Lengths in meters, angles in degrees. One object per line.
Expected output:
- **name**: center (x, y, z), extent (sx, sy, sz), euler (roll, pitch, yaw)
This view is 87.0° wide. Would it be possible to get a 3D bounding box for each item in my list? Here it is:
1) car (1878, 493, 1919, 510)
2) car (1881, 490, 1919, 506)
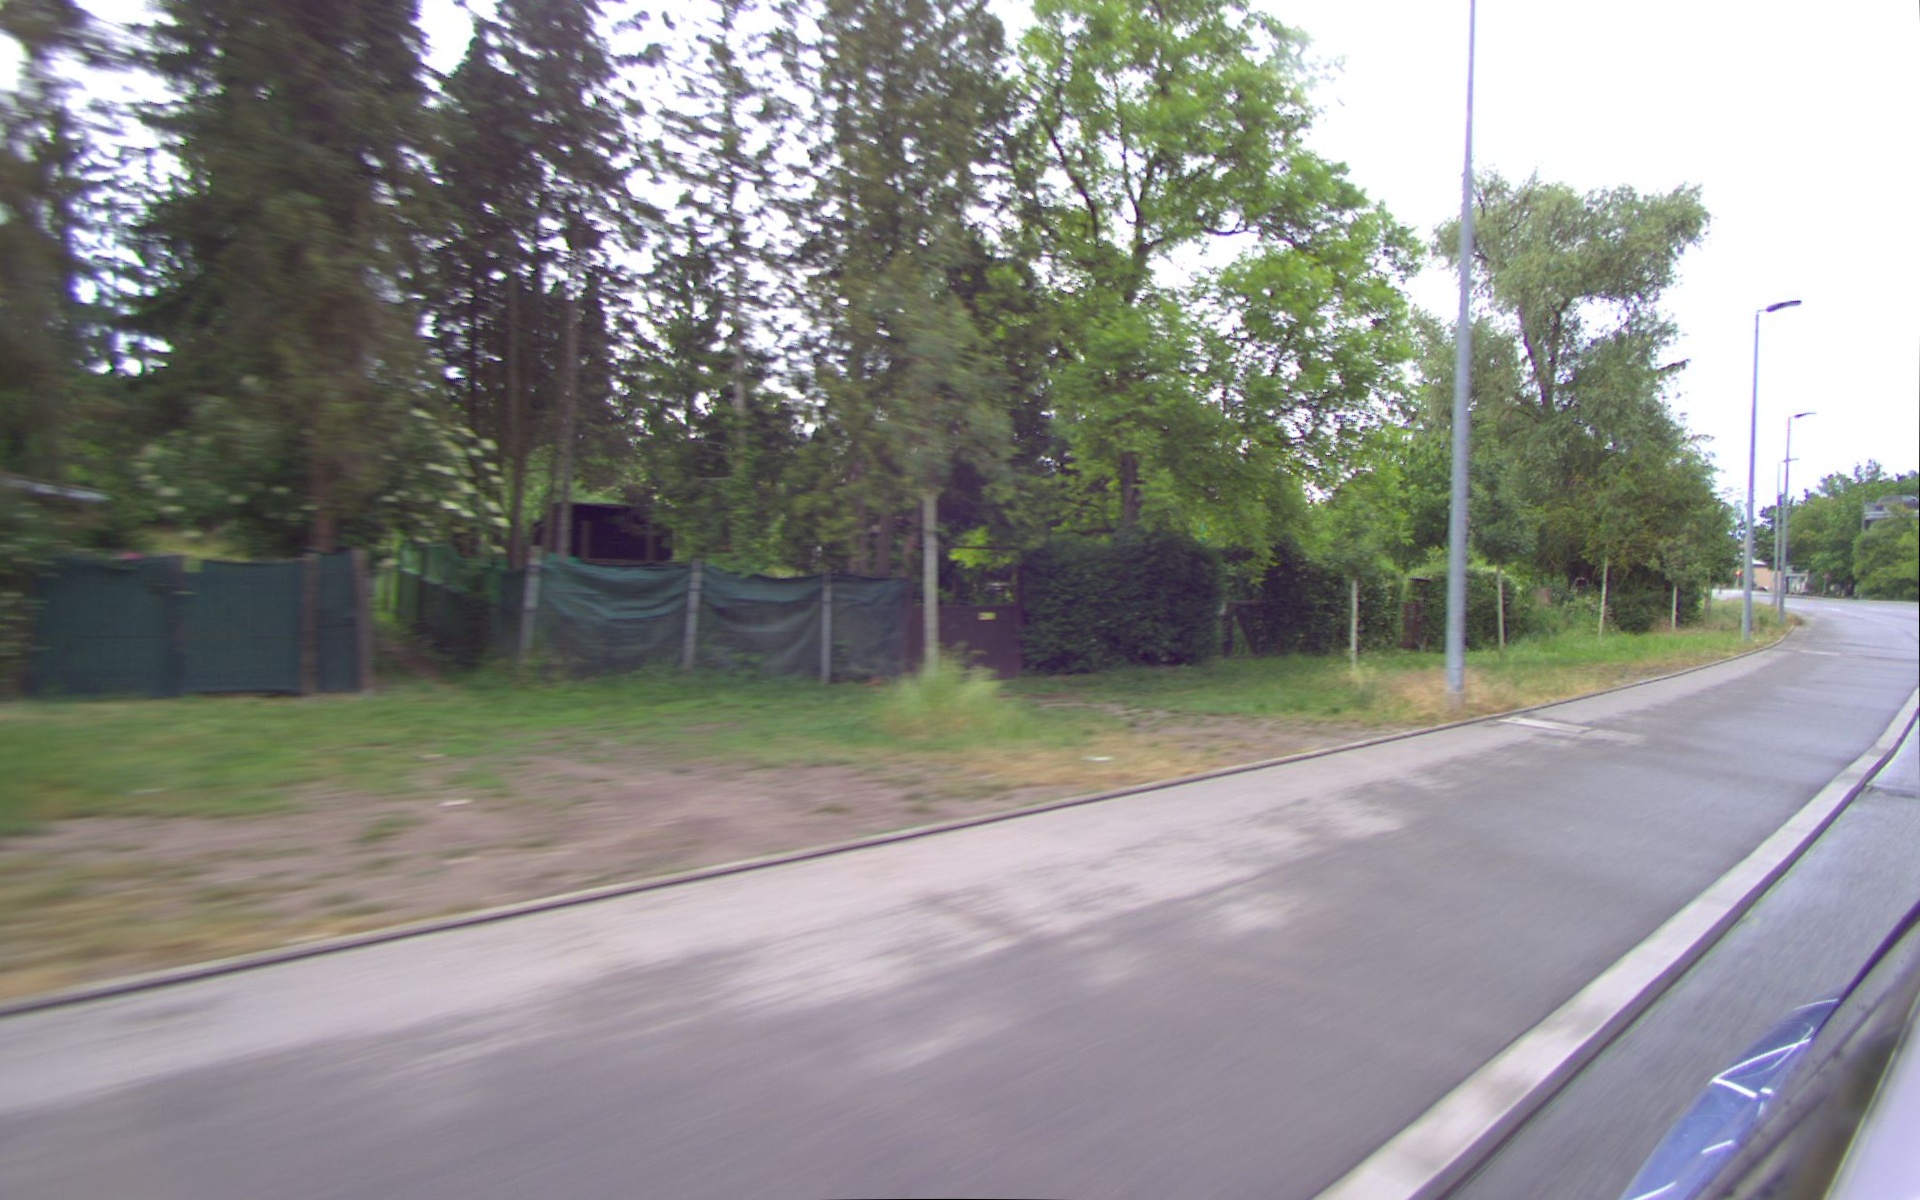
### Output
- **car**: center (95.544, -9.914, 102.023), extent (1.962, 1.537, 4.003), euler (0, 3, -34)
- **car**: center (98.424, -10.564, 104.850), extent (1.962, 1.537, 4.003), euler (0, 3, -34)
